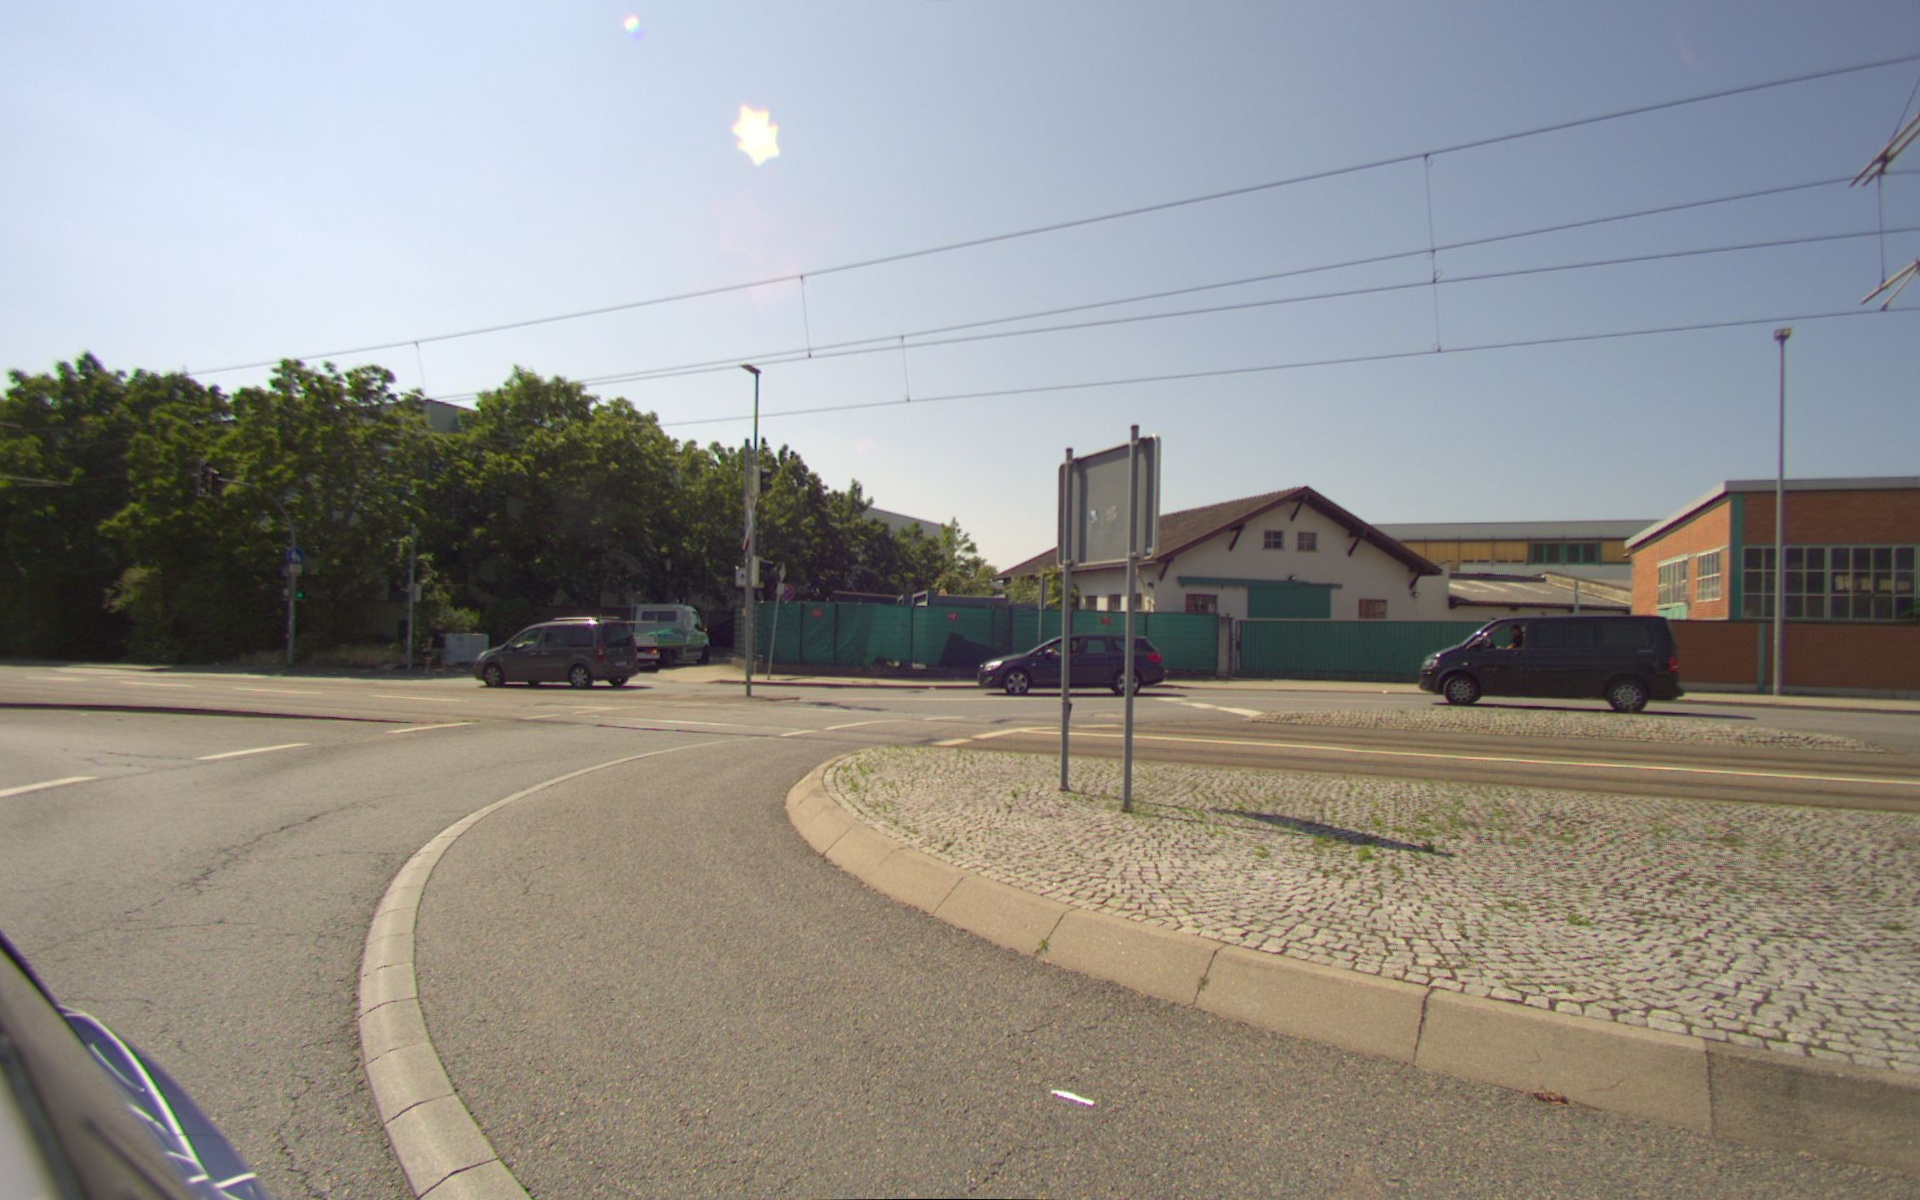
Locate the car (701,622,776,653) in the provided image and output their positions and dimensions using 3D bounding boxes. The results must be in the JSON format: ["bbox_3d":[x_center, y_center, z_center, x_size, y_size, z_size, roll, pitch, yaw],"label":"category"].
[{"bbox_3d":[-12.341,2.096,56.449,3.835,1.650,1.616,0,-2,19],"label":"car"}]

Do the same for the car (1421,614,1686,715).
[{"bbox_3d":[12.512,1.325,21.531,4.626,1.925,2.074,-2,-3,34],"label":"car"}]

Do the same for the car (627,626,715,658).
[{"bbox_3d":[-13.984,2.033,49.080,3.813,1.478,1.625,0,-2,1],"label":"car"}]

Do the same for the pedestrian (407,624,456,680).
[{"bbox_3d":[-17.634,1.711,33.764,1.153,1.682,0.882,5,3,23],"label":"pedestrian"}]

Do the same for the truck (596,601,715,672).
[{"bbox_3d":[-10.906,1.325,36.842,2.180,2.355,6.384,0,-2,2],"label":"truck"}]

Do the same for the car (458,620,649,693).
[{"bbox_3d":[-10.760,1.460,26.887,4.366,1.832,1.981,0,-2,14],"label":"car"}]

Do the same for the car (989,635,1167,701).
[{"bbox_3d":[2.827,1.659,24.978,4.187,1.568,1.967,0,-2,4],"label":"car"}]
